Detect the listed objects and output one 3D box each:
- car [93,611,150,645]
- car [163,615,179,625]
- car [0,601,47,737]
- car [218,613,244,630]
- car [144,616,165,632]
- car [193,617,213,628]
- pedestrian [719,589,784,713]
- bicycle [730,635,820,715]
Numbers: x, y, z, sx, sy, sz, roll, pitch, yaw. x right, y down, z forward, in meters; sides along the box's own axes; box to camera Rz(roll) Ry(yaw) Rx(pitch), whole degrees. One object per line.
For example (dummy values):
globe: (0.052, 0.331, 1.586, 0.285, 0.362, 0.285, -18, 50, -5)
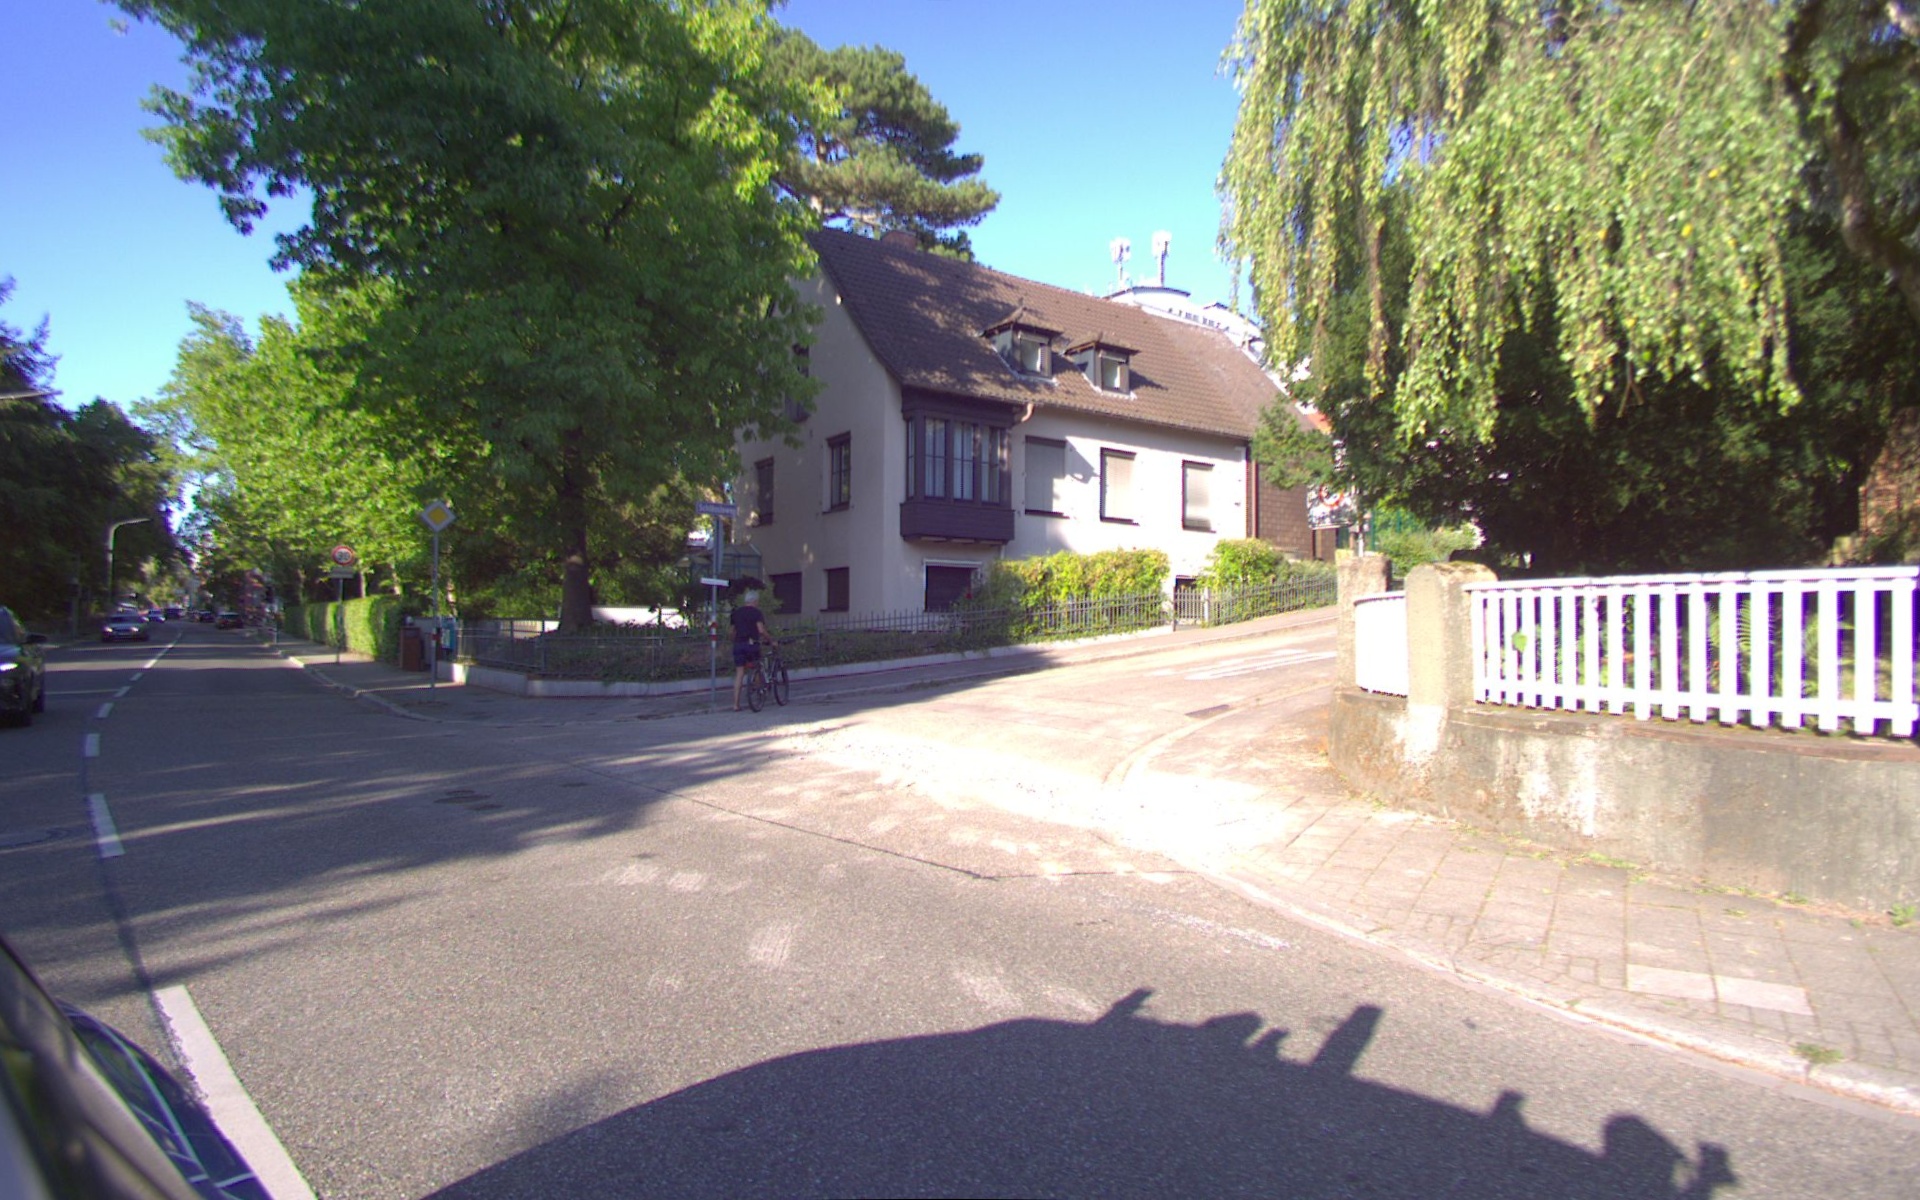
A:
car: (-44.252, 1.428, 53.499, 1.967, 1.652, 4.010, -1, 0, -35)
car: (-130.014, 3.282, 166.736, 1.797, 1.393, 3.941, 5, -4, -42)
car: (-13.999, 0.898, 13.944, 1.907, 1.699, 4.439, 1, -2, -40)
car: (-65.495, 1.923, 90.949, 1.664, 1.445, 3.623, -3, 1, -39)
car: (-102.685, 3.027, 128.958, 1.969, 2.029, 4.006, 0, -1, -40)
car: (-101.283, 2.984, 135.367, 1.797, 1.393, 3.941, 5, -4, -42)
pedestrian: (-3.199, 0.765, 15.590, 0.549, 1.840, 0.939, -3, -1, 14)
bicycle: (-2.731, 1.087, 15.107, 0.556, 1.051, 1.809, -3, -1, 15)
